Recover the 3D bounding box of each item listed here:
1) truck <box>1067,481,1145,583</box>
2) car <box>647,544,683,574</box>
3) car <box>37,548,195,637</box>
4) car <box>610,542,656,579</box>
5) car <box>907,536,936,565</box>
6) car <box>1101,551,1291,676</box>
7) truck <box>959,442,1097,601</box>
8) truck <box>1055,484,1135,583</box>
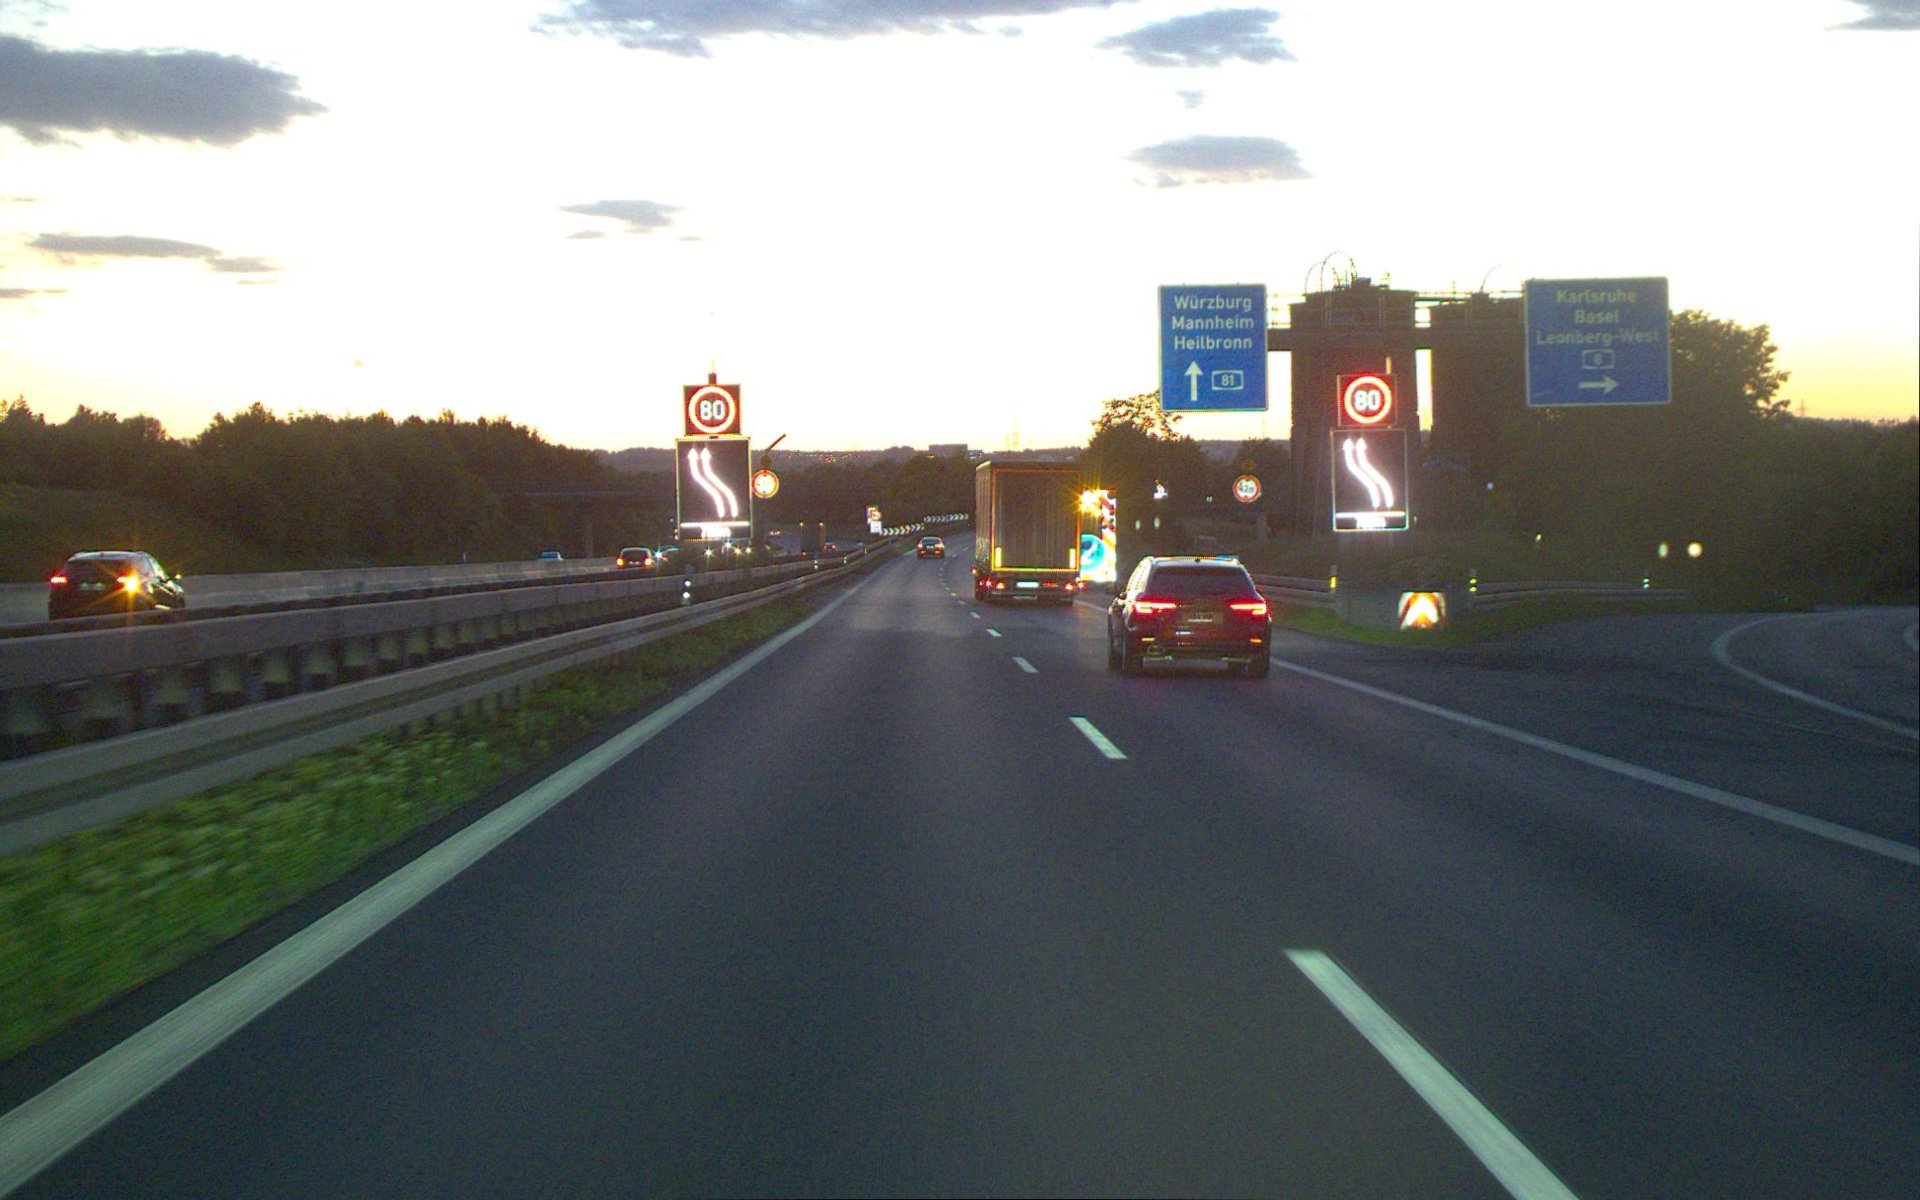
[{"bbox_3d":[5.919,-2.744,140.096,2.787,4.045,6.412,0,1,-1],"label":"truck"},{"bbox_3d":[-16.128,-2.246,188.201,1.638,1.541,3.395,-1,1,0],"label":"car"},{"bbox_3d":[-15.753,-0.157,64.362,1.872,1.556,4.520,-1,1,-1],"label":"car"},{"bbox_3d":[-14.925,-1.807,157.007,1.713,1.600,3.722,-1,1,-1],"label":"car"},{"bbox_3d":[-2.735,-3.470,242.067,1.993,2.007,4.000,-1,1,-1],"label":"car"},{"bbox_3d":[2.879,0.138,42.759,1.915,1.437,4.000,-1,1,-2],"label":"car"},{"bbox_3d":[1.878,-2.215,99.458,3.509,4.286,9.892,-1,1,-1],"label":"truck"},{"bbox_3d":[5.737,-2.834,147.896,2.913,4.097,9.150,0,1,-1],"label":"truck"}]
